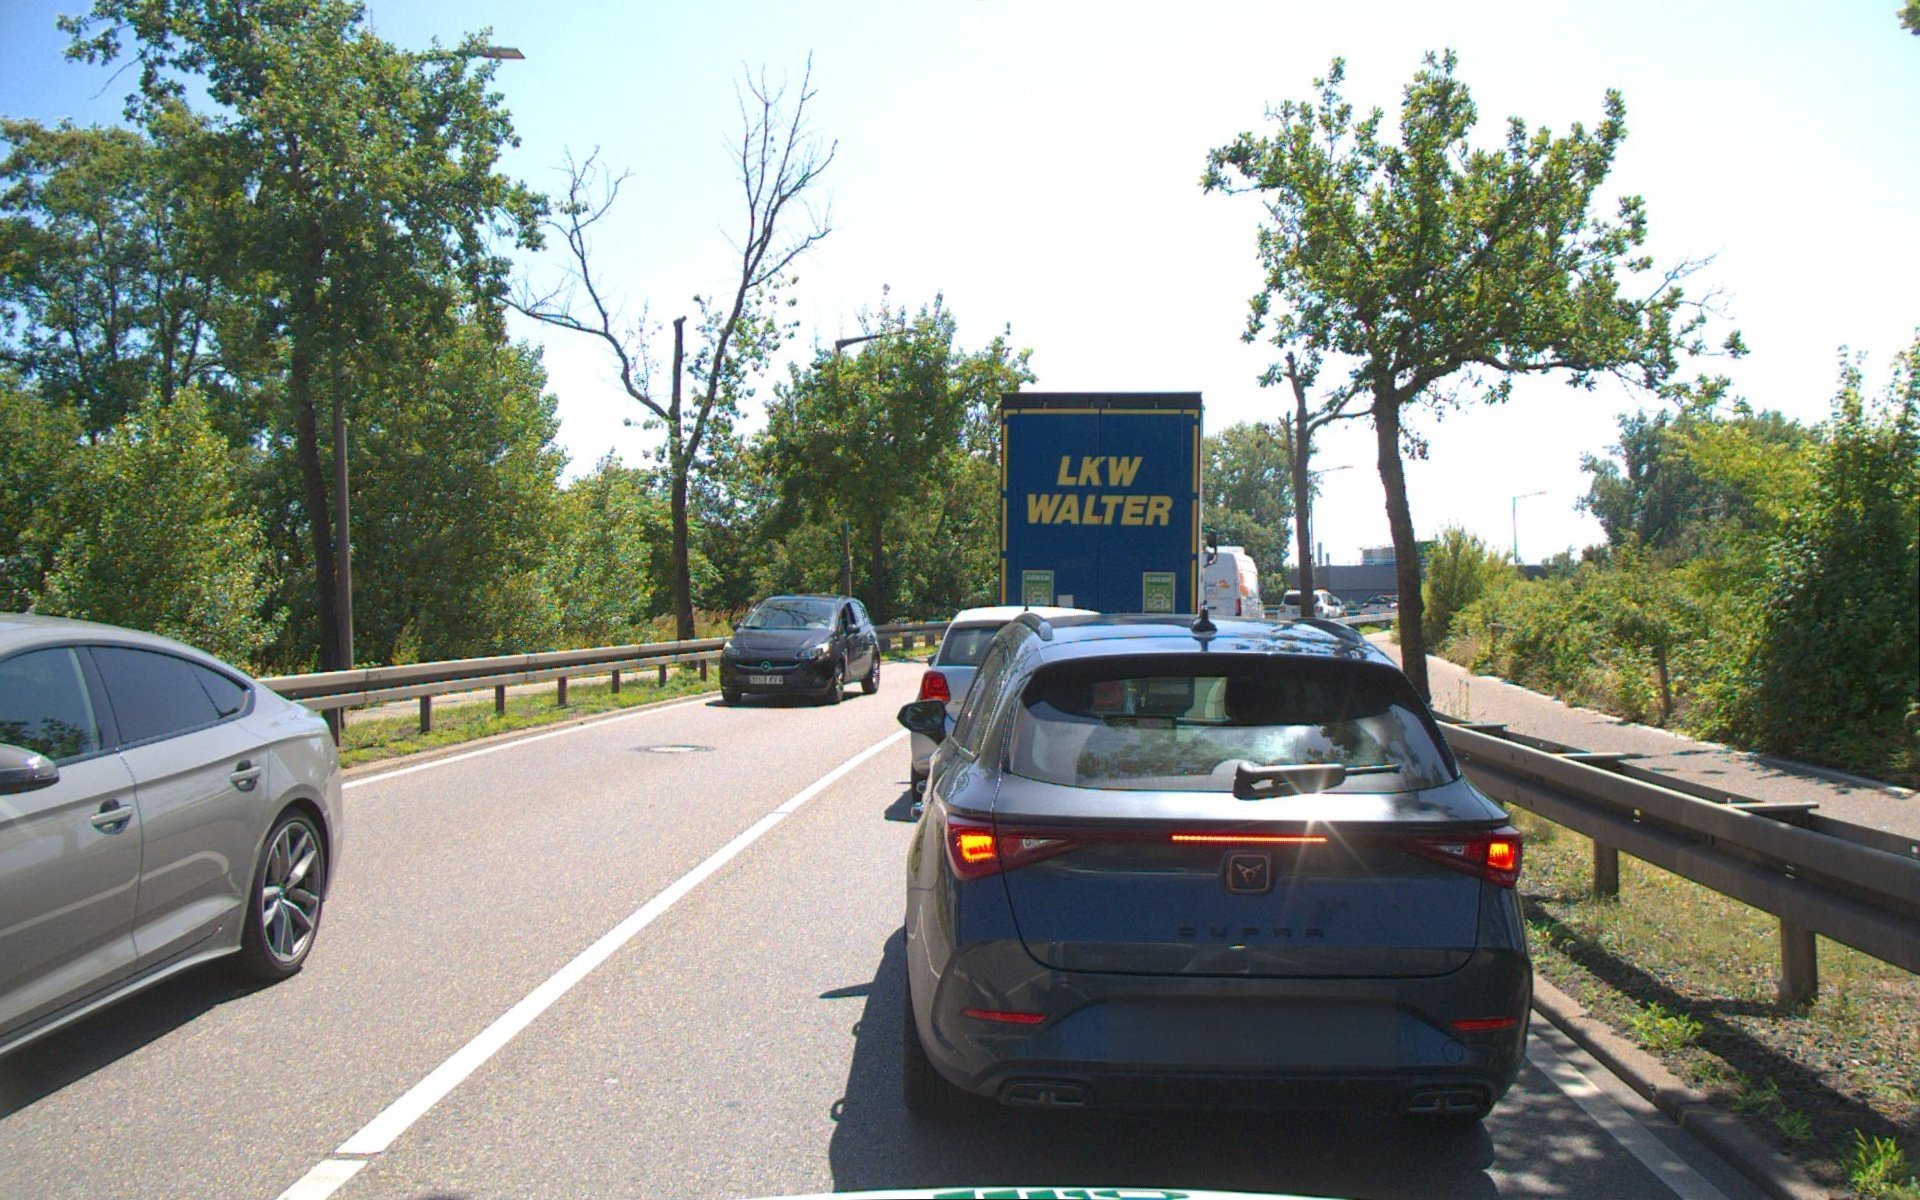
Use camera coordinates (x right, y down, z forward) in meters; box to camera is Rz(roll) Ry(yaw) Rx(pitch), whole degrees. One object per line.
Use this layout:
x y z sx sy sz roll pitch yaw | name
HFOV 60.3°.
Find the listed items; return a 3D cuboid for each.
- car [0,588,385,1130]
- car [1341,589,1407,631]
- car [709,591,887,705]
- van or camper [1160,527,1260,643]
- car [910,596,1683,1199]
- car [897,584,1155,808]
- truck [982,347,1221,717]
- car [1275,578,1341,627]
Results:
-3.376 0.673 4.926 1.723 1.420 4.406 1 0 1 | car
18.819 0.454 75.081 1.954 1.840 4.841 1 0 25 | car
-2.241 0.636 23.867 1.635 1.491 3.823 1 0 9 | car
7.193 -0.405 47.084 2.413 3.051 6.091 1 0 12 | van or camper
0.738 0.730 5.619 1.708 1.457 3.879 1 0 0 | car
0.497 0.665 13.528 1.772 1.534 4.000 1 0 1 | car
2.910 -0.843 28.751 2.887 4.526 16.811 1 0 8 | truck
12.986 0.100 61.463 1.951 1.742 4.622 1 0 17 | car
